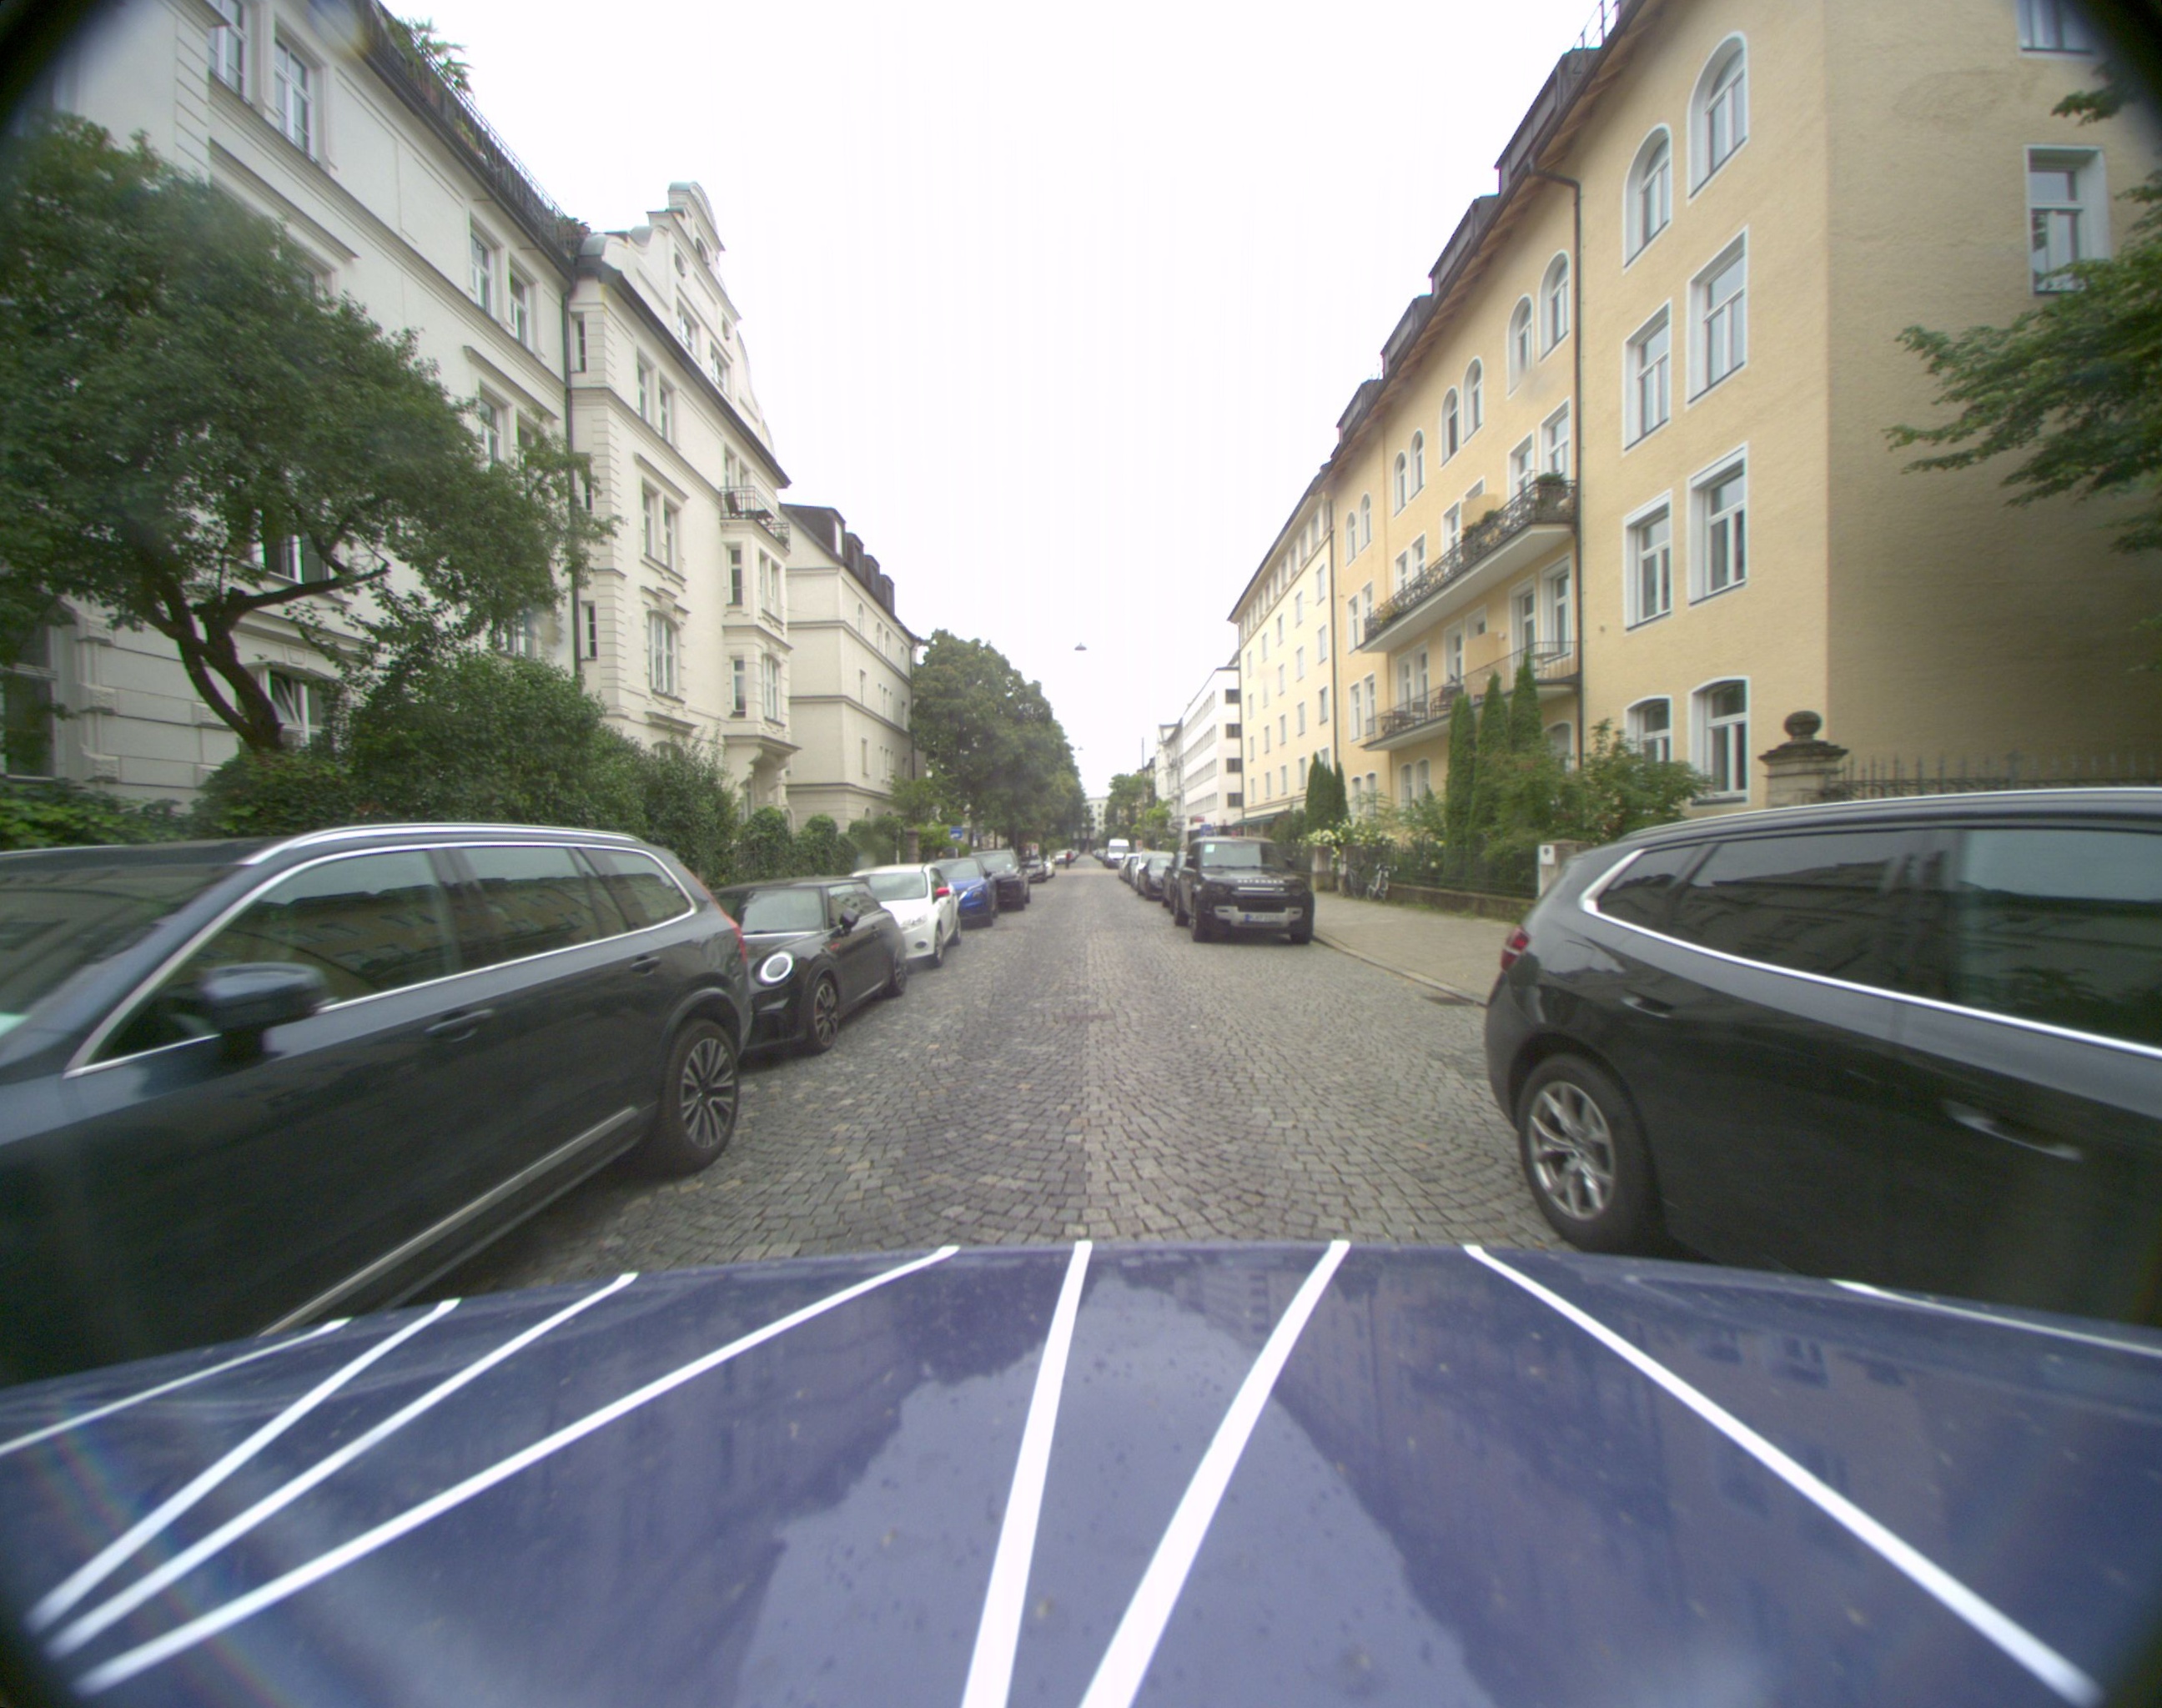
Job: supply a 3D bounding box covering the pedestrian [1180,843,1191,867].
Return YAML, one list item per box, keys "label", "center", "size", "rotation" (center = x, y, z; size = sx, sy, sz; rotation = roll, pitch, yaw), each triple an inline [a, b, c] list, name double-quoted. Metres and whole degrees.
- label: "pedestrian"
  center: [7.940, 0.052, 57.583]
  size: [0.615, 1.830, 0.813]
  rotation: [-2, 2, -6]

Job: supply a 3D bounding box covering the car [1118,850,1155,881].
- label: "car"
  center: [3.115, 0.606, 43.313]
  size: [1.778, 1.527, 4.539]
  rotation: [-2, 1, 0]

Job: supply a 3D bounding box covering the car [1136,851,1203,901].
- label: "car"
  center: [2.905, 0.676, 25.886]
  size: [1.778, 1.421, 4.390]
  rotation: [-2, 1, 1]

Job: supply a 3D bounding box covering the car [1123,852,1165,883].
- label: "car"
  center: [3.124, 0.631, 38.603]
  size: [1.778, 1.352, 4.390]
  rotation: [-2, 1, 0]

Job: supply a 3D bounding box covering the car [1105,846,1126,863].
- label: "car"
  center: [3.344, 0.046, 74.015]
  size: [1.666, 1.474, 3.980]
  rotation: [-2, 1, -1]

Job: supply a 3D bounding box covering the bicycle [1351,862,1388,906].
- label: "bicycle"
  center: [7.236, 0.738, 19.077]
  size: [0.353, 0.997, 1.572]
  rotation: [-2, 1, 2]

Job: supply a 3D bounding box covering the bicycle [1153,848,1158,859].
- label: "bicycle"
  center: [8.198, -0.089, 83.455]
  size: [0.361, 1.168, 1.911]
  rotation: [-2, 1, 3]

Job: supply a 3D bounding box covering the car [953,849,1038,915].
- label: "car"
  center: [-2.452, 0.738, 23.170]
  size: [1.879, 1.663, 5.489]
  rotation: [-2, 1, 0]

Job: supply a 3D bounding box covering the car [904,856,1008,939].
- label: "car"
  center: [-2.745, 0.889, 17.553]
  size: [1.713, 1.473, 4.248]
  rotation: [-4, 1, -2]

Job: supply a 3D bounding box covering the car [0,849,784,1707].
- label: "car"
  center: [-2.869, 0.922, 2.255]
  size: [1.968, 1.749, 4.953]
  rotation: [-2, 1, 0]

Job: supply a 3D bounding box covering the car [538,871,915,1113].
- label: "car"
  center: [-2.922, 1.018, 7.325]
  size: [1.687, 1.444, 3.965]
  rotation: [-3, 1, 0]

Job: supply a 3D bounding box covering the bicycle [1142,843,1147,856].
- label: "bicycle"
  center: [5.562, -0.433, 66.809]
  size: [0.256, 1.120, 1.806]
  rotation: [-2, 1, 0]

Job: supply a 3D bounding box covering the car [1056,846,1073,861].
- label: "car"
  center: [-2.070, -0.079, 97.461]
  size: [1.925, 1.676, 4.633]
  rotation: [-2, 2, 1]

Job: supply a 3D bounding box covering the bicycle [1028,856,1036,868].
- label: "bicycle"
  center: [-4.524, 0.734, 70.646]
  size: [0.389, 1.140, 1.590]
  rotation: [-1, 1, 7]

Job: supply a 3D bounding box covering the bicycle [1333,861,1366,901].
- label: "bicycle"
  center: [7.316, 0.708, 20.750]
  size: [0.353, 0.997, 1.572]
  rotation: [-2, 1, 2]

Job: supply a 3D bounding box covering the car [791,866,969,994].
- label: "car"
  center: [-2.886, 1.001, 11.892]
  size: [1.778, 1.421, 4.389]
  rotation: [-2, 1, -3]

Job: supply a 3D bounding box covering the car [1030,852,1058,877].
- label: "car"
  center: [-2.335, 0.640, 48.927]
  size: [1.505, 1.463, 3.795]
  rotation: [-1, 1, 2]

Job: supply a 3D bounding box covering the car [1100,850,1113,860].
- label: "car"
  center: [4.083, 0.160, 122.070]
  size: [1.886, 1.411, 4.808]
  rotation: [-1, 0, 0]

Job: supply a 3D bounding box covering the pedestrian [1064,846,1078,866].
- label: "pedestrian"
  center: [-0.911, 0.167, 68.451]
  size: [1.105, 1.768, 1.263]
  rotation: [-2, 1, 1]

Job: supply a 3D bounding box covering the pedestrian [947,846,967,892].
- label: "pedestrian"
  center: [-5.162, 0.614, 31.562]
  size: [0.577, 1.840, 0.682]
  rotation: [-2, 2, 8]

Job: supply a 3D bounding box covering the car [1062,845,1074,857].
- label: "car"
  center: [-2.025, -0.485, 122.415]
  size: [1.819, 1.809, 4.807]
  rotation: [1, 1, 0]

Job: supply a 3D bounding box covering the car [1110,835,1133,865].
- label: "car"
  center: [3.577, -0.411, 68.323]
  size: [1.981, 2.559, 5.794]
  rotation: [0, 1, 2]

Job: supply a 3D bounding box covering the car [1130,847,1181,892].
- label: "car"
  center: [3.064, 0.596, 32.109]
  size: [1.778, 1.638, 4.390]
  rotation: [-2, 1, 1]

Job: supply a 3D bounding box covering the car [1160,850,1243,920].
- label: "car"
  center: [3.033, 0.714, 19.863]
  size: [1.583, 1.581, 4.055]
  rotation: [0, 1, 1]

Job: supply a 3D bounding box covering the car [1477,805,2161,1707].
- label: "car"
  center: [2.660, 0.748, 1.153]
  size: [1.778, 1.708, 4.390]
  rotation: [-2, 1, 0]

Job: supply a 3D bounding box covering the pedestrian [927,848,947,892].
- label: "pedestrian"
  center: [-5.945, 0.656, 31.356]
  size: [0.631, 1.798, 0.659]
  rotation: [-3, 2, -22]

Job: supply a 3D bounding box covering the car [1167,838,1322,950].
- label: "car"
  center: [2.854, 0.622, 14.396]
  size: [1.987, 1.727, 4.722]
  rotation: [-2, 0, 1]

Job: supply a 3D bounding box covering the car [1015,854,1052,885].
- label: "car"
  center: [-2.595, 0.821, 42.399]
  size: [1.652, 1.414, 4.631]
  rotation: [-5, 1, -1]
